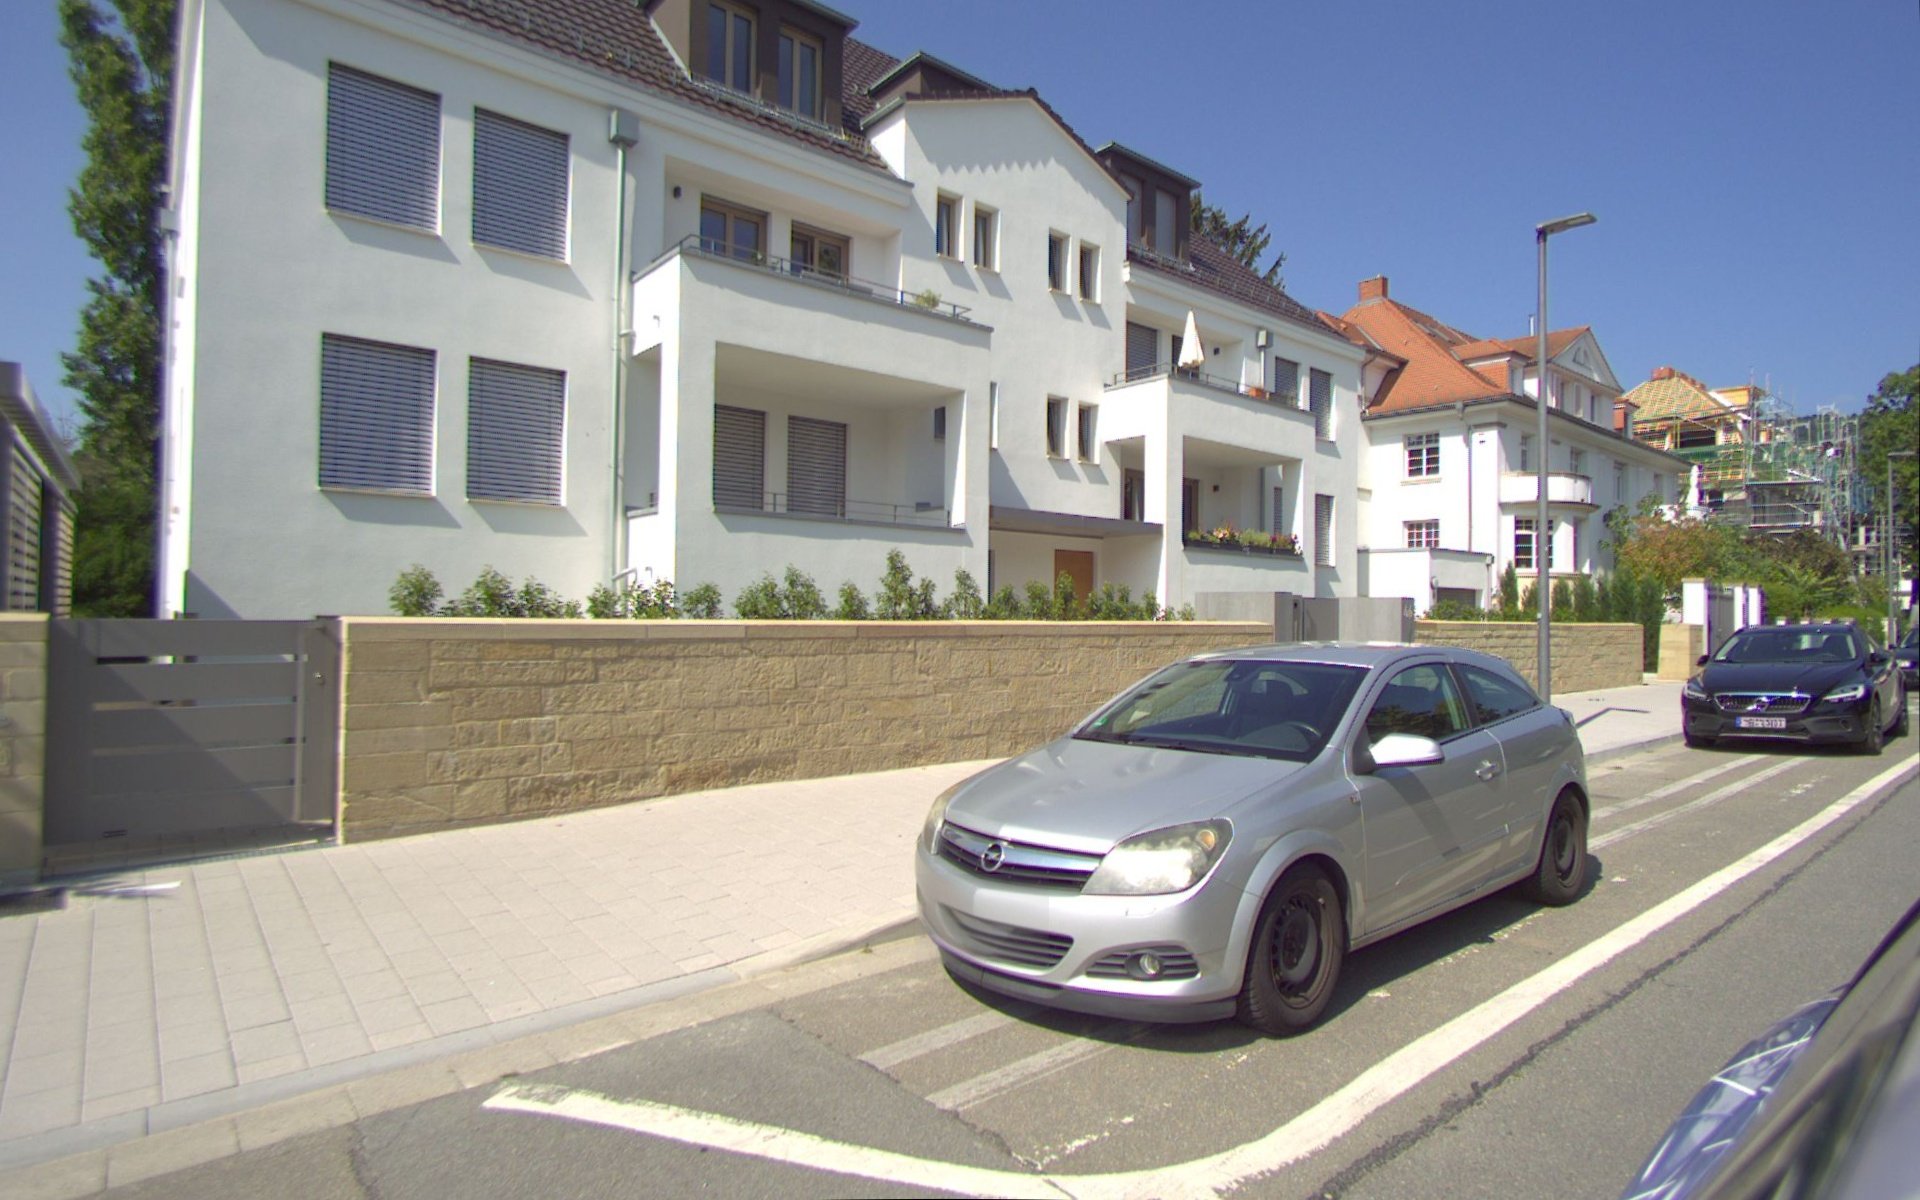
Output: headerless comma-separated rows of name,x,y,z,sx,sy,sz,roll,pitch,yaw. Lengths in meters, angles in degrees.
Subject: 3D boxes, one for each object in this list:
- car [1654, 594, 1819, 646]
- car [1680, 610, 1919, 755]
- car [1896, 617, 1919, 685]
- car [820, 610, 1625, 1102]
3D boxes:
car,26.320,0.697,34.419,1.673,1.603,4.166,1,-3,-42
car,10.538,0.916,12.523,4.096,1.468,1.724,0,-3,-42
car,22.660,1.088,22.723,3.925,1.468,1.623,0,-3,-36
car,1.510,0.809,4.936,4.004,1.346,1.739,-1,-3,-40
